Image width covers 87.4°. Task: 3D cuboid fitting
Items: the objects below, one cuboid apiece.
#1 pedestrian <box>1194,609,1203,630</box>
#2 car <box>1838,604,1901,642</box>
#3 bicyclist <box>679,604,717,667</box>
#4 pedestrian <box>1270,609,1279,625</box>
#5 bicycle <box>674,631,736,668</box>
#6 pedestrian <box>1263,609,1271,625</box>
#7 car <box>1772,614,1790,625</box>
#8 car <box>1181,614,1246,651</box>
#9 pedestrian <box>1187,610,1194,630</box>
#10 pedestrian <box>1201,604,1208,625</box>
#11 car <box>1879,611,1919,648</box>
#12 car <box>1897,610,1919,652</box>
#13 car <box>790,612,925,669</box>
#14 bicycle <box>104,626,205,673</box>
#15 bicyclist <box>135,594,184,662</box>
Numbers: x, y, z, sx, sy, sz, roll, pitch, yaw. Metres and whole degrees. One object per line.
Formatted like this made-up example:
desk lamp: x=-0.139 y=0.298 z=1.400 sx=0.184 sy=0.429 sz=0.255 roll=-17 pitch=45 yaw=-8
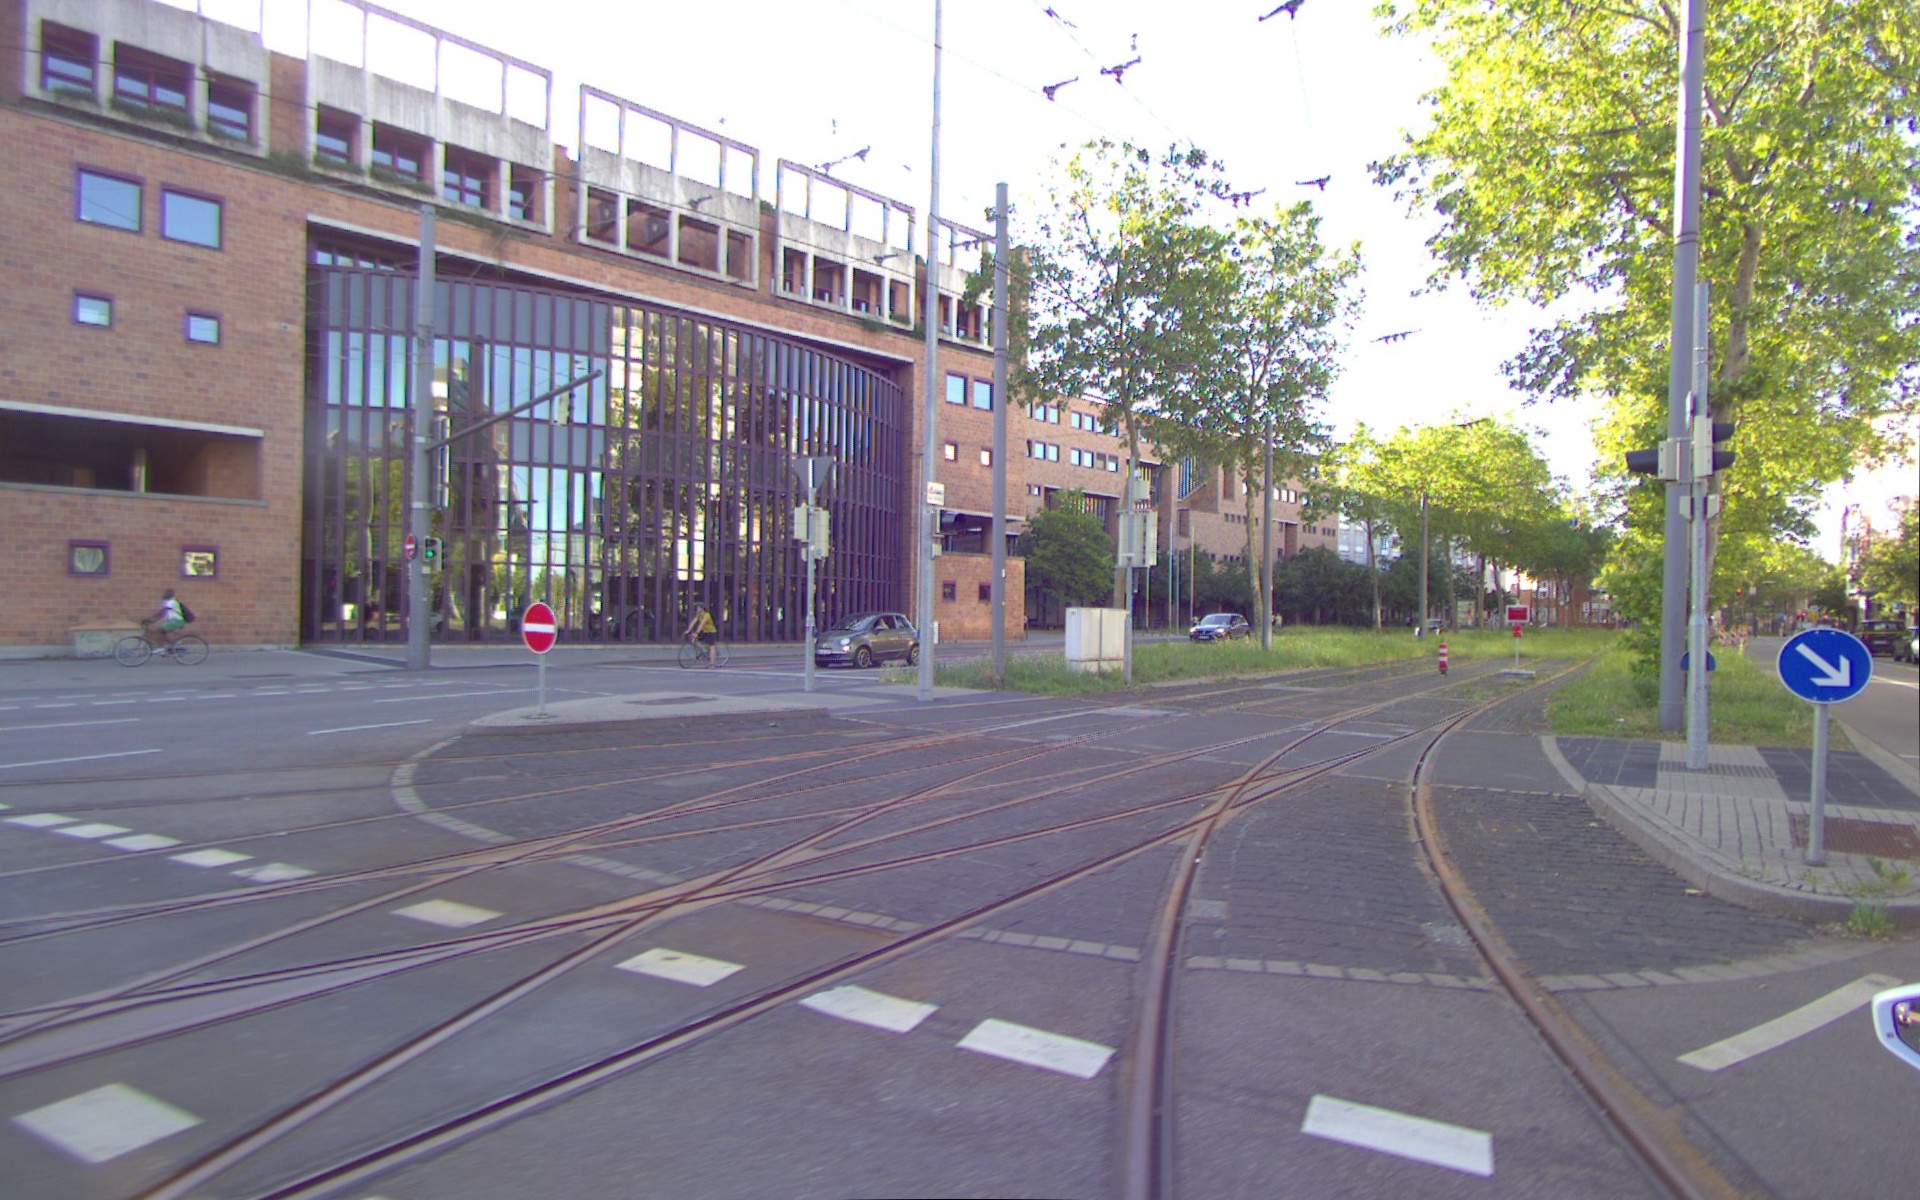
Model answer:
pedestrian: x=16.713 y=1.360 z=70.333 sx=0.386 sy=1.435 sz=0.456 roll=-1 pitch=0 yaw=43
car: x=50.155 y=1.249 z=55.450 sx=2.003 sy=2.003 sz=4.400 roll=-2 pitch=-1 yaw=35
bicyclist: x=-7.009 y=0.941 z=26.850 sx=0.808 sy=1.643 sz=0.616 roll=0 pitch=0 yaw=-42
pedestrian: x=26.026 y=1.423 z=83.149 sx=0.496 sy=1.308 sz=0.519 roll=0 pitch=0 yaw=41
bicycle: x=-6.839 y=1.313 z=26.987 sx=1.557 sy=0.925 sz=0.530 roll=0 pitch=-1 yaw=-42
pedestrian: x=25.561 y=1.408 z=83.593 sx=0.496 sy=1.308 sz=0.519 roll=0 pitch=0 yaw=41
car: x=129.890 y=3.039 z=158.932 sx=1.972 sy=1.728 sz=3.978 roll=-1 pitch=0 yaw=42
car: x=12.280 y=1.530 z=48.456 sx=1.797 sy=1.583 sz=4.330 roll=0 pitch=1 yaw=32
pedestrian: x=16.196 y=1.408 z=70.672 sx=0.360 sy=1.439 sz=0.330 roll=-1 pitch=0 yaw=44
pedestrian: x=17.441 y=1.060 z=71.716 sx=0.314 sy=1.476 sz=0.340 roll=-1 pitch=0 yaw=43
car: x=43.762 y=1.330 z=45.942 sx=1.961 sy=1.650 sz=4.072 roll=-2 pitch=-2 yaw=35
car: x=40.119 y=1.243 z=41.424 sx=1.837 sy=1.660 sz=3.850 roll=-1 pitch=-1 yaw=39
car: x=-2.729 y=1.045 z=27.340 sx=1.629 sy=1.346 sz=3.607 roll=0 pitch=1 yaw=37
bicycle: x=-19.635 y=1.189 z=24.516 sx=1.903 sy=1.094 sz=0.610 roll=0 pitch=0 yaw=-39
bicyclist: x=-19.584 y=0.672 z=24.585 sx=0.920 sy=1.611 sz=0.678 roll=0 pitch=0 yaw=-39
